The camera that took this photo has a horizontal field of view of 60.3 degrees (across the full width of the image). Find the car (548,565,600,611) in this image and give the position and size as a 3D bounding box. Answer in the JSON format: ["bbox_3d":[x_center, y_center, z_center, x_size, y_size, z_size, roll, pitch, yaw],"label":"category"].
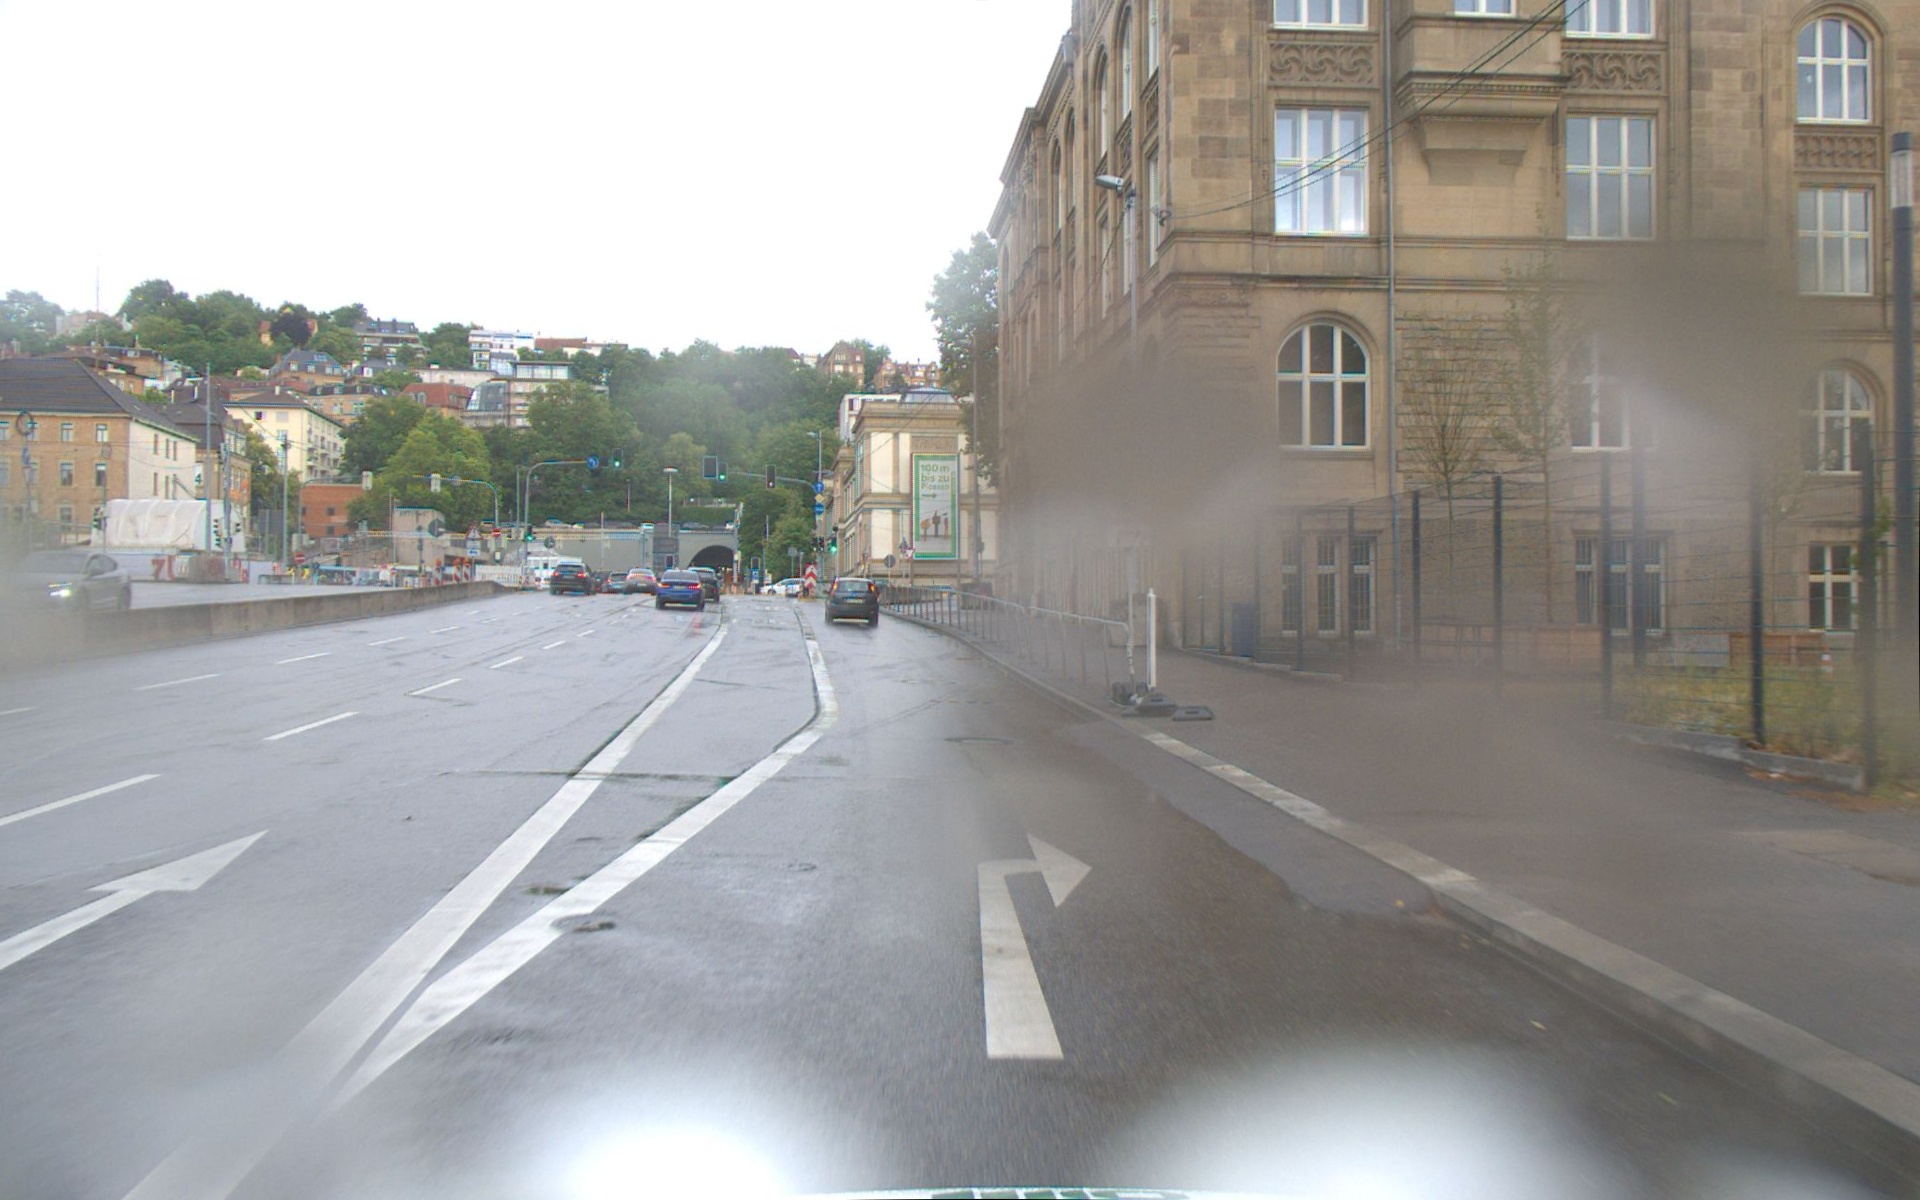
[{"bbox_3d":[-18.213,-0.549,78.176,1.978,2.049,3.993,-1,-2,-7],"label":"car"}]

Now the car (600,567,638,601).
[{"bbox_3d":[-22.175,-1.034,107.582,1.954,2.049,3.995,-1,-2,-5],"label":"car"}]

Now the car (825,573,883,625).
[{"bbox_3d":[-3.428,0.003,53.241,1.777,1.553,3.996,-1,-1,-5],"label":"car"}]

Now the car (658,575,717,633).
[{"bbox_3d":[-10.428,0.192,63.519,2.065,2.086,3.993,-1,-2,-7],"label":"car"}]

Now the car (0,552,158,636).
[{"bbox_3d":[-20.751,-0.076,38.789,1.956,1.787,5.288,-1,-1,-8],"label":"car"}]

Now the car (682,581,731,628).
[{"bbox_3d":[-11.662,0.242,76.328,1.740,2.049,3.998,-1,-1,-2],"label":"car"}]

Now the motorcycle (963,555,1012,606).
[{"bbox_3d":[1.108,-0.821,69.097,1.760,2.049,3.810,0,1,-4],"label":"motorcycle"}]

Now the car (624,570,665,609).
[{"bbox_3d":[-17.581,-0.580,92.311,2.013,2.049,3.992,-1,-2,-8],"label":"car"}]
